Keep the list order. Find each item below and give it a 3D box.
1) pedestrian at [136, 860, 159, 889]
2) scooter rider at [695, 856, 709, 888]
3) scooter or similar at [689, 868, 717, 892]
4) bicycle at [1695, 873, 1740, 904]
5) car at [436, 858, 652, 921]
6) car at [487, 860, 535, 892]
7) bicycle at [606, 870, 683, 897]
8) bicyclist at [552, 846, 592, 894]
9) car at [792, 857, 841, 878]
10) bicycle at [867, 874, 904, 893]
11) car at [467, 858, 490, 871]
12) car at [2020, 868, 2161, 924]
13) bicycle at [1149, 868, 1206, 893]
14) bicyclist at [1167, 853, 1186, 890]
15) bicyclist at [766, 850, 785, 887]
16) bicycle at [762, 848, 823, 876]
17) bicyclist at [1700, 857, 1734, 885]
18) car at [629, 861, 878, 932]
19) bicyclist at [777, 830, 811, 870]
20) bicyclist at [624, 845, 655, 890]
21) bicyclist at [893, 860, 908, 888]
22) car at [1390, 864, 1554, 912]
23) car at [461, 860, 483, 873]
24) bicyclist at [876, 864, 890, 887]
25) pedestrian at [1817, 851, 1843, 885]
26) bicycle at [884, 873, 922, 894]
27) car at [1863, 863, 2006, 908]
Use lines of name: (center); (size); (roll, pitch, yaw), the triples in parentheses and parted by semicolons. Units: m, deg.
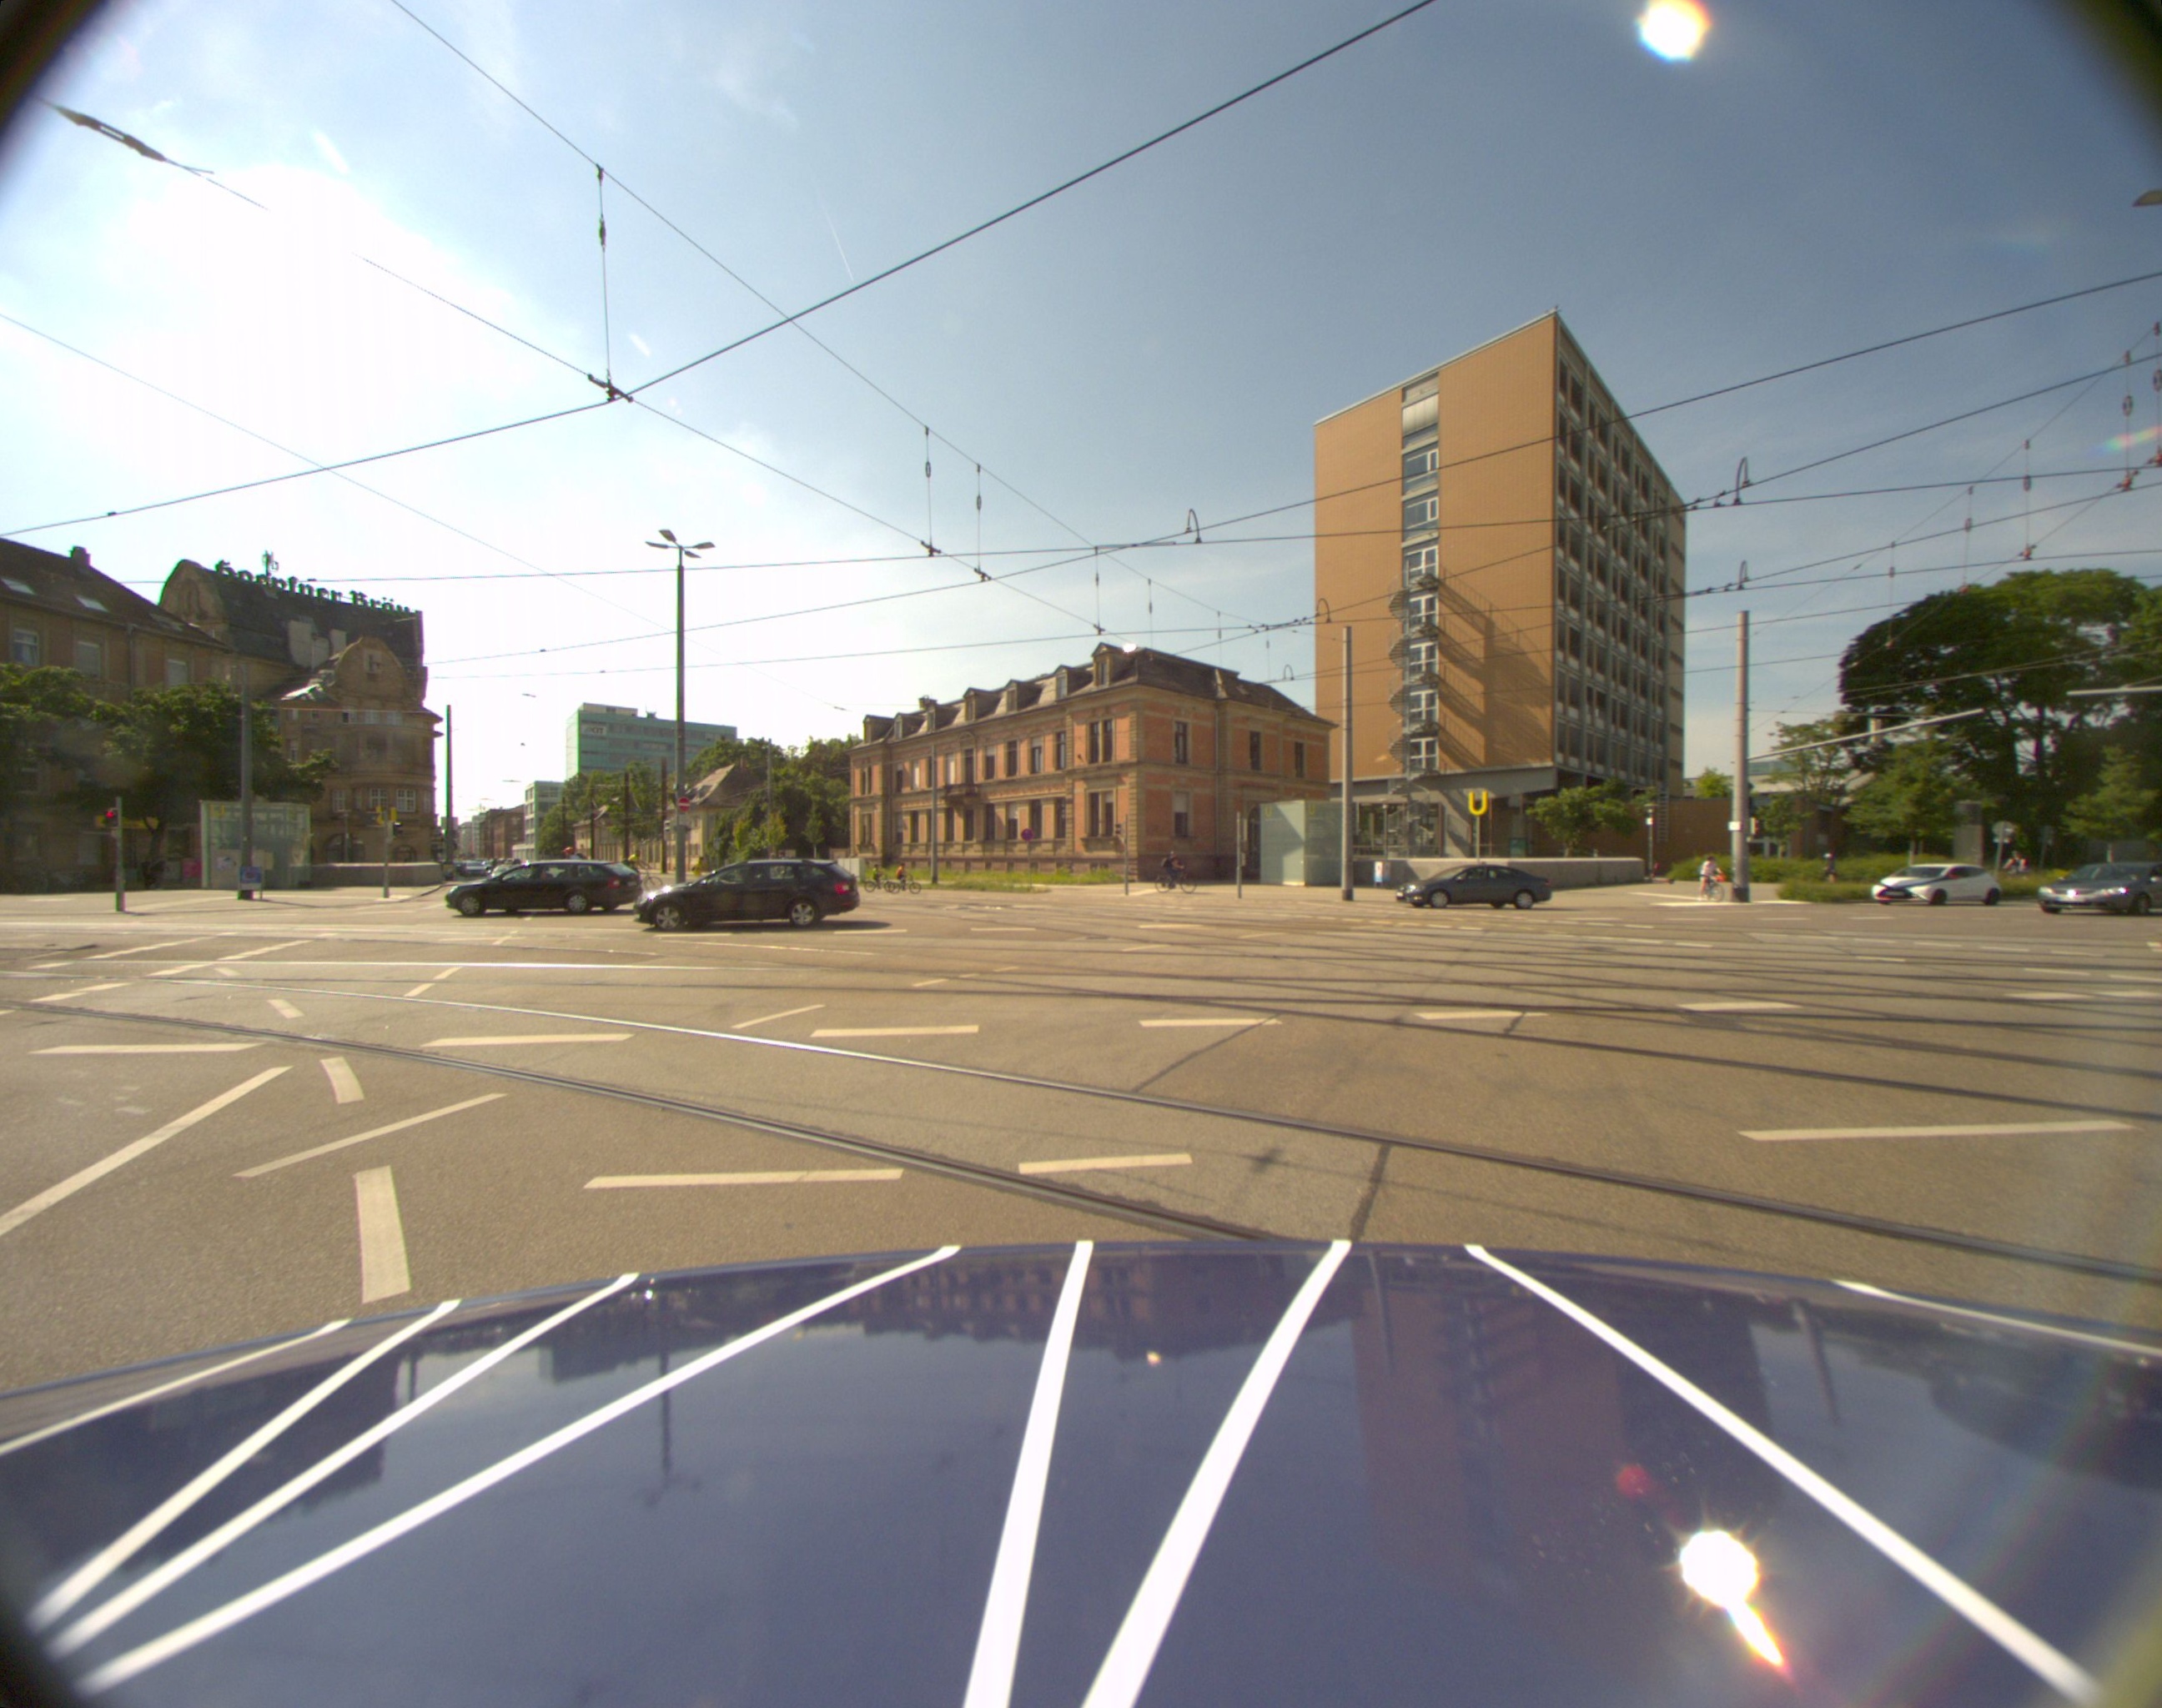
pedestrian: (-46.624, 1.009, 37.941); (0.612, 1.424, 0.714); (-2, -2, 40)
scooter rider: (-16.413, 0.780, 32.897); (0.407, 1.388, 0.588); (-1, -1, -12)
scooter or similar: (-16.361, 1.124, 32.904); (0.992, 0.970, 0.588); (-1, -1, -12)
bicycle: (24.107, 1.280, 28.814); (0.715, 1.010, 1.921); (0, 3, 22)
car: (-14.196, 0.898, 20.308); (4.397, 1.421, 1.704); (-2, 1, -6)
car: (-30.092, 1.167, 40.196); (1.641, 1.574, 3.991); (0, -2, -32)
bicycle: (-18.352, 1.232, 31.939); (2.751, 1.062, 0.927); (0, -2, -33)
bicyclist: (-17.789, 0.547, 26.552); (0.874, 1.660, 0.716); (0, 3, -4)
car: (-17.197, 0.835, 49.319); (3.442, 1.305, 1.676); (0, 0, 45)
bicycle: (-8.746, 1.318, 33.950); (1.588, 0.860, 0.501); (0, -2, -14)
car: (-61.968, 1.057, 78.124); (1.642, 1.337, 3.573); (0, 0, -43)
car: (28.538, 1.111, 20.974); (4.122, 1.416, 1.650); (-1, -1, -13)
bicycle: (4.268, 1.169, 33.462); (2.459, 1.063, 0.669); (0, 1, 11)
bicyclist: (4.222, 0.769, 33.443); (0.781, 1.615, 0.669); (0, 2, 11)
bicyclist: (-13.436, 0.639, 33.445); (0.649, 1.611, 0.501); (0, -1, -7)
bicycle: (-10.894, 0.315, 28.712); (2.019, 1.009, 0.717); (-1, -1, 0)
bicyclist: (24.122, 0.636, 28.847); (0.715, 1.023, 0.917); (0, 3, 22)
car: (-7.013, 0.877, 16.741); (4.780, 1.427, 1.634); (0, 0, -10)
bicyclist: (-10.853, -0.148, 28.716); (0.949, 1.478, 0.717); (-1, -1, 8)
bicyclist: (-18.496, 0.569, 31.839); (1.054, 1.809, 0.927); (0, -1, -33)
bicyclist: (-7.710, 0.838, 32.439); (0.604, 1.190, 0.519); (1, 0, -15)
car: (12.770, 1.101, 24.998); (4.525, 1.427, 1.636); (1, 1, 0)
car: (-66.950, 1.324, 83.557); (1.642, 1.337, 3.600); (0, 0, -43)
bicyclist: (-8.829, 0.964, 33.948); (0.606, 1.023, 0.501); (0, -1, -14)
pedestrian: (37.912, 0.698, 38.479); (0.732, 1.655, 0.592); (-1, 2, -12)
bicycle: (-7.602, 1.259, 32.408); (1.576, 0.881, 0.519); (1, 0, -15)
car: (29.993, 1.086, 26.748); (3.761, 1.465, 1.681); (-1, -1, -12)
